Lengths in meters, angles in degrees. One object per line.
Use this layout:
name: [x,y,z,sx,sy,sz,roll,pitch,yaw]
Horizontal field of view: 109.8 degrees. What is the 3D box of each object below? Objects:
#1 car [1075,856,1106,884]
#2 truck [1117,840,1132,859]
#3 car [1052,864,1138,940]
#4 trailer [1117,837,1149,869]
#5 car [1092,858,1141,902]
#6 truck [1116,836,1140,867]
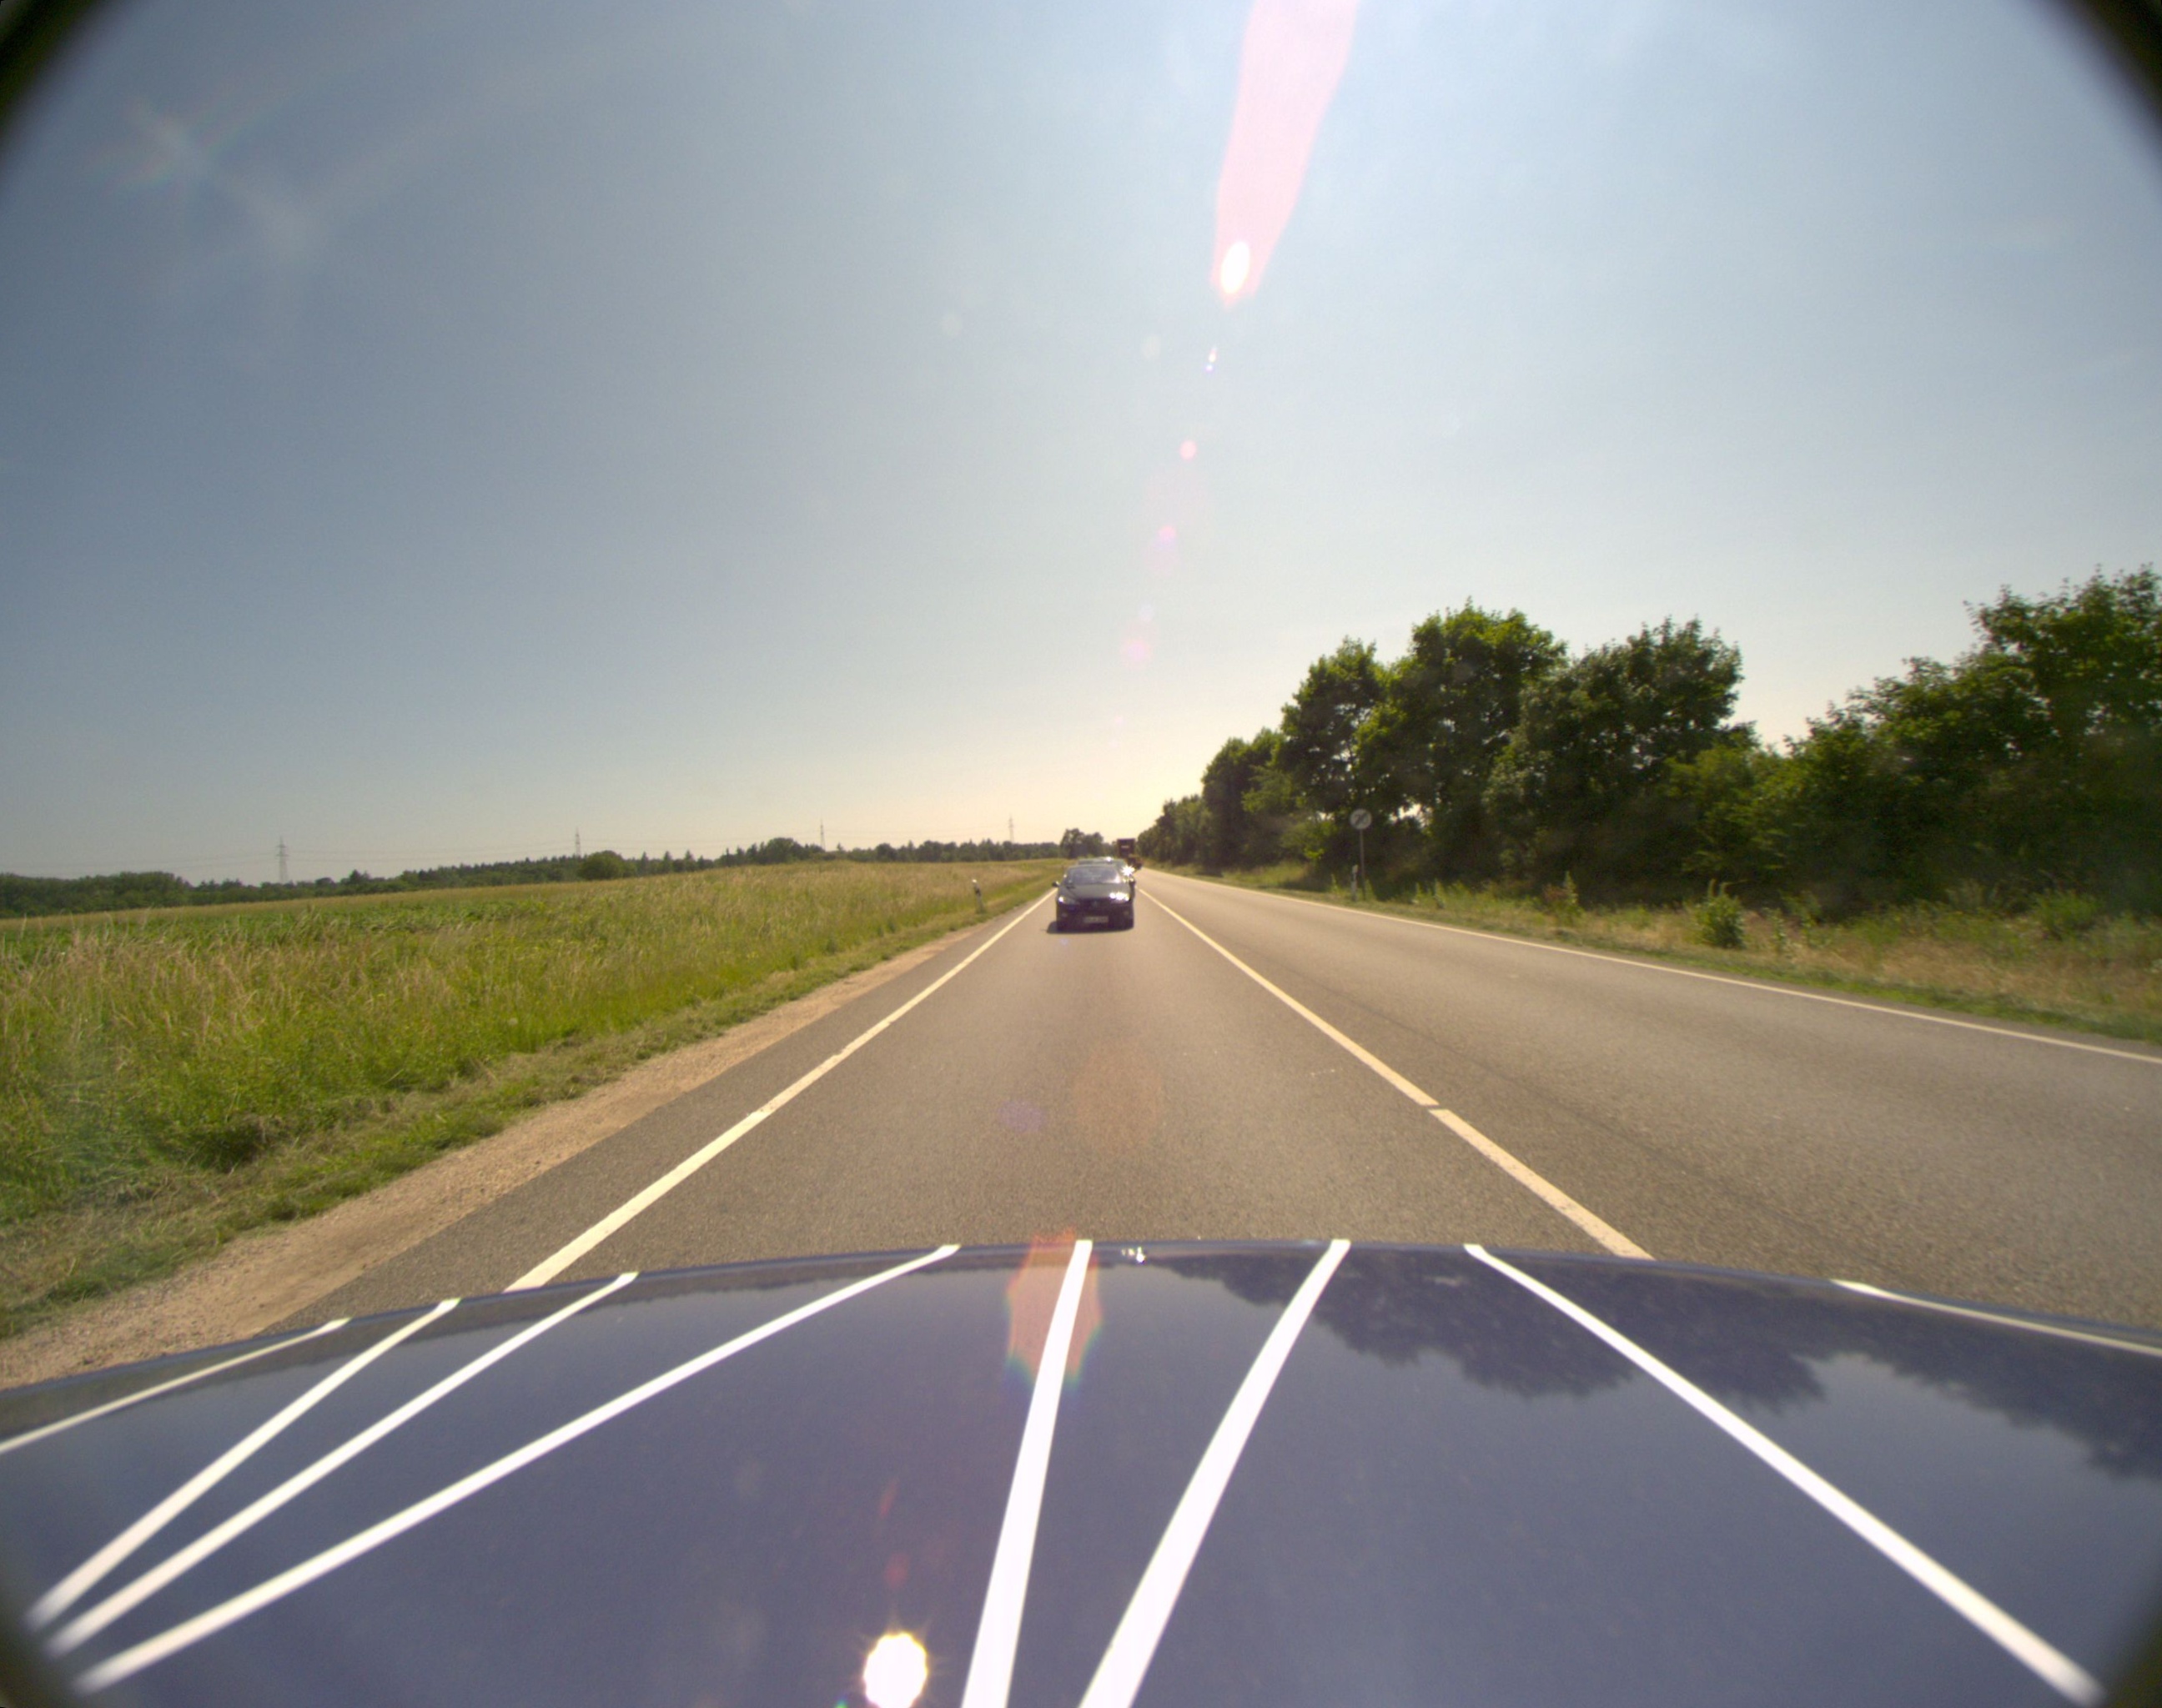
car: [0.553,0.899,43.636,1.665,1.449,4.173,-2,0,1]
truck: [8.631,-0.907,152.035,2.769,3.711,10.549,-2,0,3]
car: [0.322,0.976,16.968,1.665,1.389,3.731,-2,0,1]
trailer: [6.165,-0.089,92.346,2.669,3.440,14.949,-2,0,0]
car: [1.318,0.926,28.914,1.665,1.477,3.732,-2,0,2]
truck: [6.147,-0.325,99.670,2.709,3.908,5.952,-2,0,0]
